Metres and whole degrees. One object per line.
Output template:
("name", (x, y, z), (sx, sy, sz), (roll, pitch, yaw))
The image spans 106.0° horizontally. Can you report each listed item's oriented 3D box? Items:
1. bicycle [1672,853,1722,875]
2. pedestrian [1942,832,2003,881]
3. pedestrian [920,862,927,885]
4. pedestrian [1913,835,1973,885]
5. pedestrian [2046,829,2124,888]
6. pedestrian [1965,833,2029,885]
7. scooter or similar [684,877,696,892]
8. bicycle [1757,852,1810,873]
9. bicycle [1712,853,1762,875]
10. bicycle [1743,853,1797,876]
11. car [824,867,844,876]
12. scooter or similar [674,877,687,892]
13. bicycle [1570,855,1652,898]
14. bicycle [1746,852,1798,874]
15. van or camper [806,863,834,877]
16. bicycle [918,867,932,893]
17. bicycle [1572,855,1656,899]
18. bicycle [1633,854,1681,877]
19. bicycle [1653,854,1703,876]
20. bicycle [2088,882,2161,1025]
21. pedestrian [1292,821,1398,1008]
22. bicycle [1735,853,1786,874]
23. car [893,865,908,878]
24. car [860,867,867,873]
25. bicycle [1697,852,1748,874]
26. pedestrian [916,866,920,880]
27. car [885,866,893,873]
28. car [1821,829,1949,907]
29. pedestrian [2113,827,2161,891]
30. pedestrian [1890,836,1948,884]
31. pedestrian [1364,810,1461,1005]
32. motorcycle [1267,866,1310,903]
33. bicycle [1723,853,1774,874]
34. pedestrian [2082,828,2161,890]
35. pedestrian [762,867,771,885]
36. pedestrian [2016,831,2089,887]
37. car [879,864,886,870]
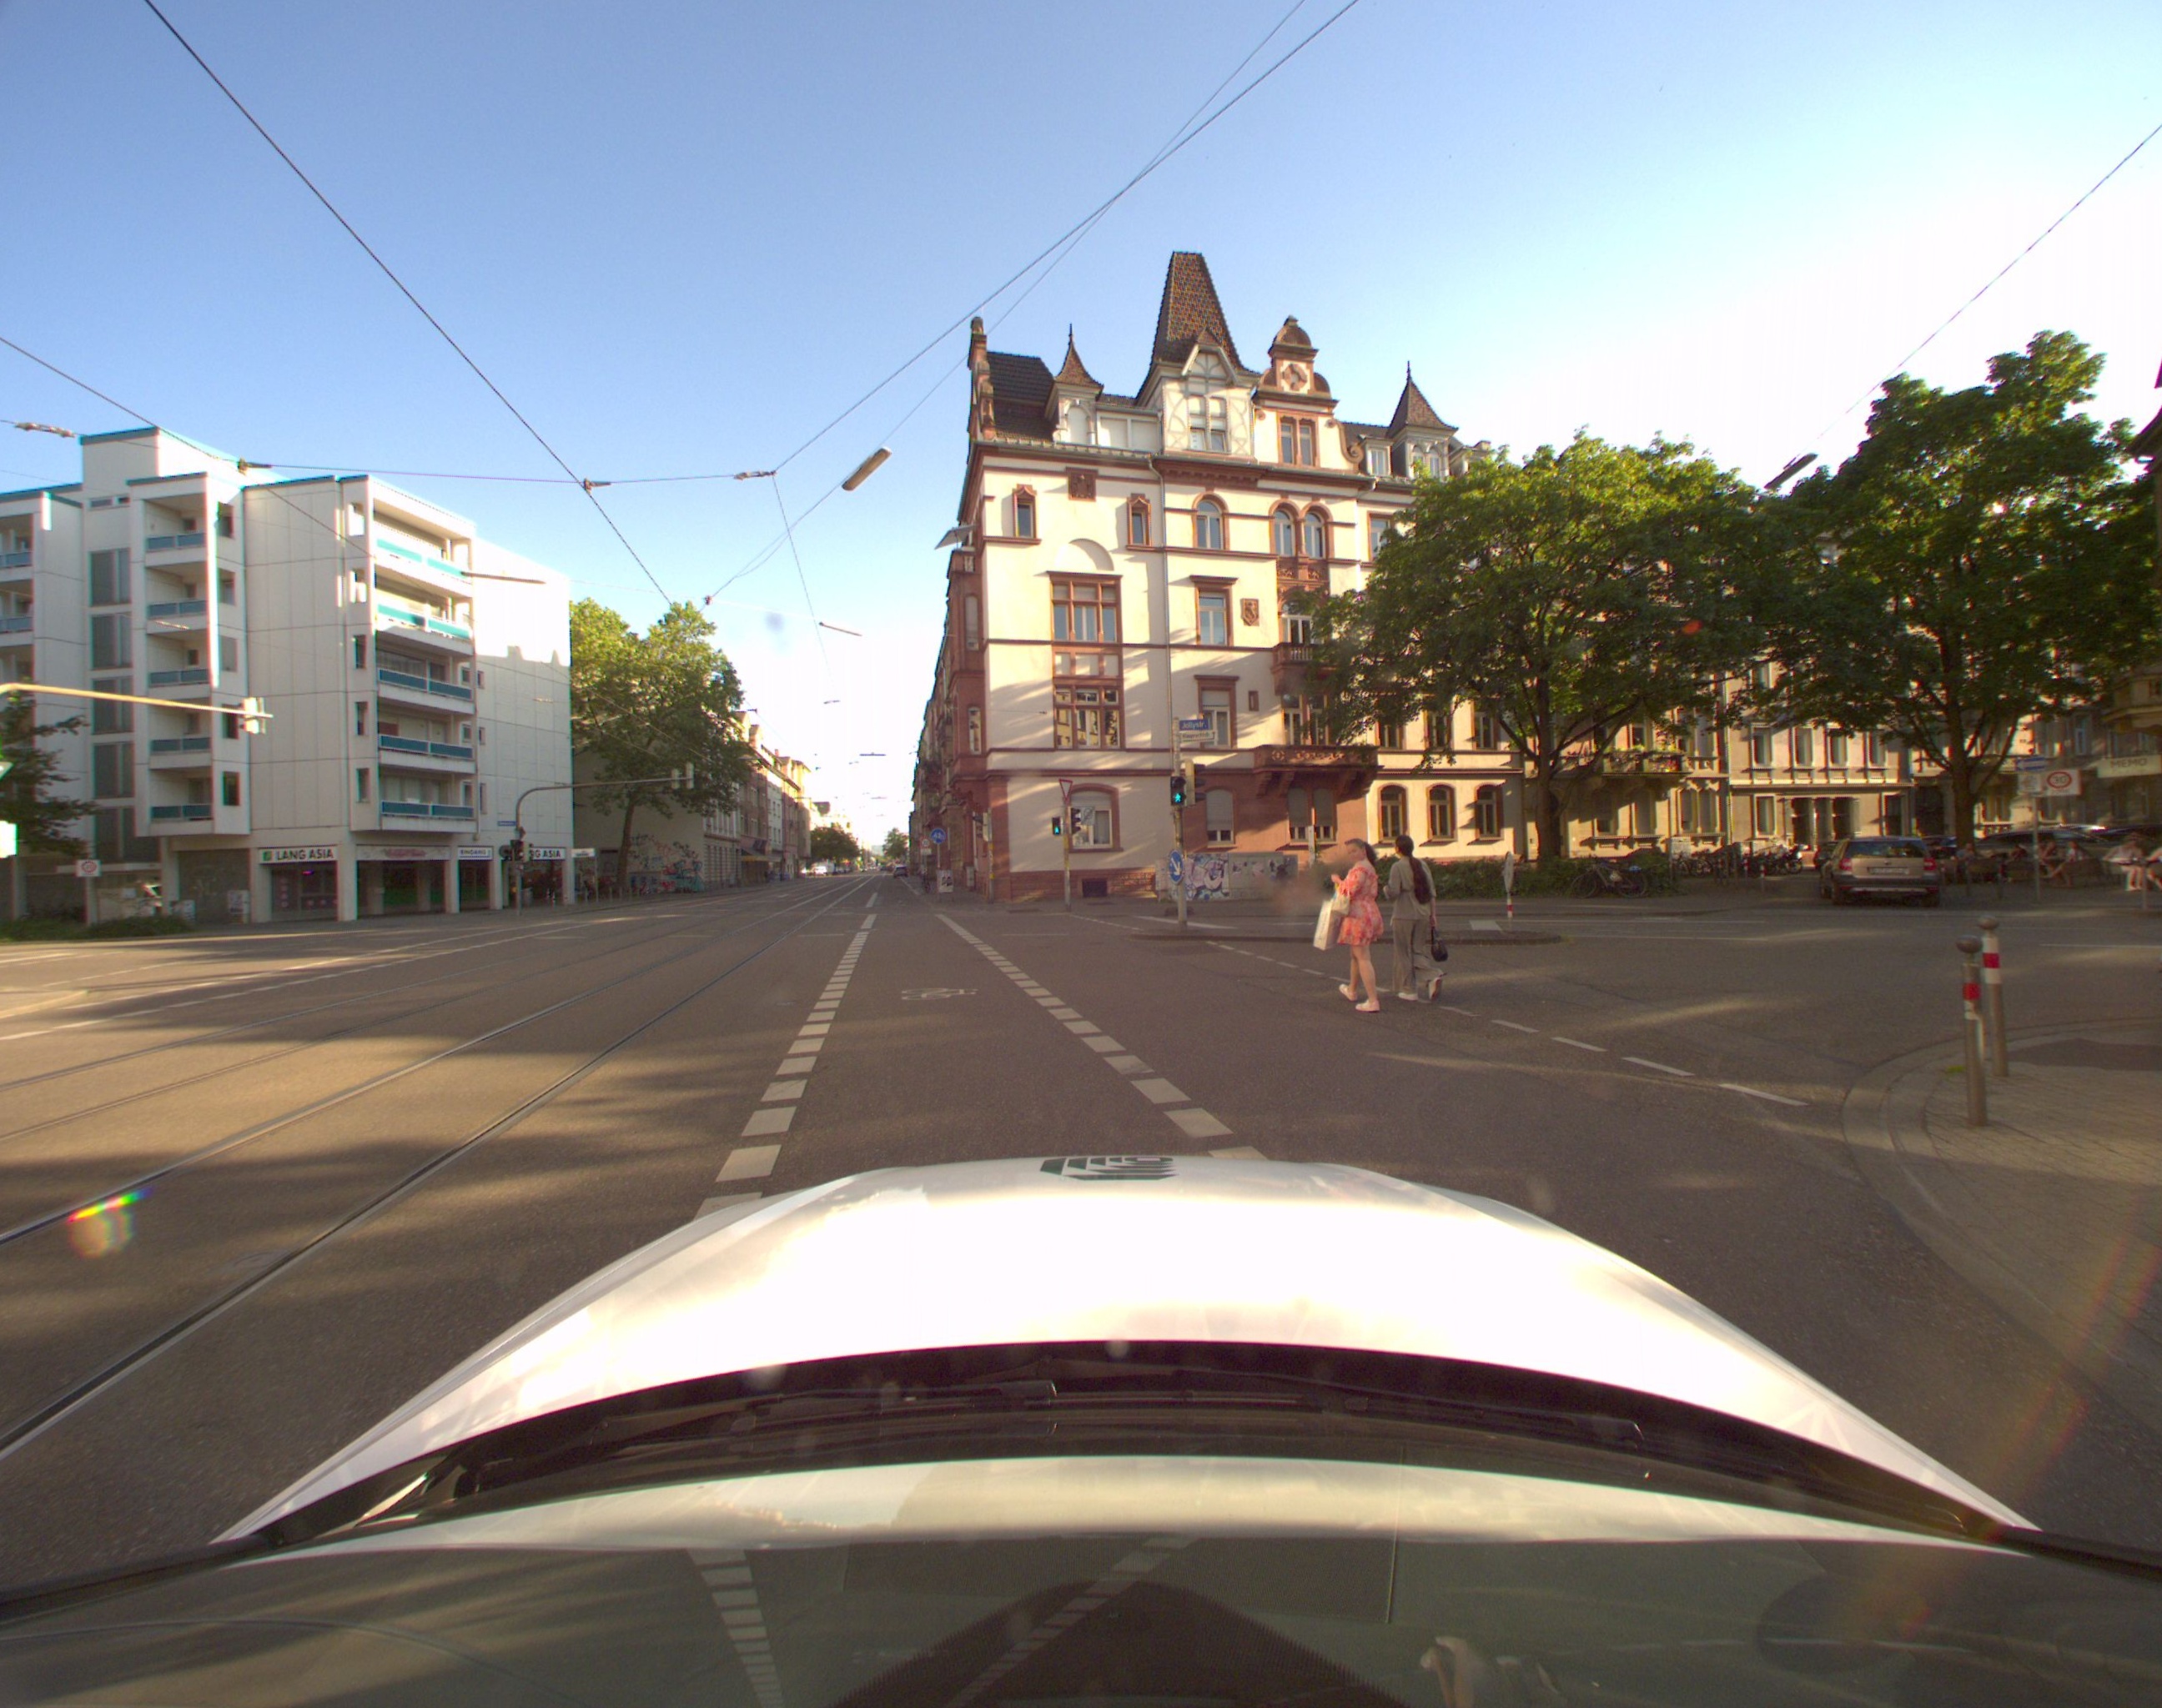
("bicycle", (25.870, 0.433, 34.259), (0.492, 0.893, 1.791), (-2, -1, -11))
("pedestrian", (27.703, 0.093, 25.323), (0.904, 1.428, 0.769), (-6, -2, 19))
("pedestrian", (-12.202, 1.503, 63.093), (0.545, 1.780, 0.502), (-2, -1, -13))
("pedestrian", (26.221, 0.191, 24.793), (0.904, 1.428, 0.769), (-6, -2, 20))
("pedestrian", (26.097, 0.126, 21.181), (0.904, 1.428, 0.769), (-6, -2, 20))
("pedestrian", (27.249, 0.146, 24.250), (0.904, 1.428, 0.769), (-6, -2, 20))
("scooter or similar", (-28.588, 2.192, 59.506), (0.517, 1.057, 1.470), (-2, -1, -15))
("bicycle", (30.698, 0.382, 35.620), (0.492, 0.893, 1.791), (-2, -1, -11))
("bicycle", (28.220, 0.437, 35.062), (0.492, 0.893, 1.791), (-2, -1, -11))
("bicycle", (28.651, 0.442, 33.868), (1.785, 0.893, 0.493), (-2, -1, 1))
("car", (-57.585, 4.090, 189.793), (4.019, 2.014, 1.977), (-1, -1, -38))
("scooter or similar", (-29.183, 2.210, 59.324), (0.517, 1.045, 1.470), (-2, -1, -15))
("bicycle", (14.899, 0.640, 22.954), (1.842, 1.161, 0.563), (-2, 1, 24))
("bicycle", (30.075, 0.395, 35.468), (0.492, 0.893, 1.791), (-2, -1, -11))
("van or camper", (-49.798, 3.012, 155.608), (4.677, 2.563, 1.975), (0, -2, -44))
("bicycle", (-8.319, 1.376, 43.385), (0.653, 1.323, 2.168), (-2, -1, -11))
("bicycle", (14.641, 0.637, 22.407), (1.842, 1.161, 0.563), (-2, 1, 24))
("bicycle", (24.002, 0.476, 33.970), (0.492, 0.893, 1.791), (-2, -1, -11))
("bicycle", (24.995, 0.453, 34.127), (0.492, 0.893, 1.791), (-2, -1, -11))
("bicycle", (8.481, 0.739, 5.986), (0.776, 1.045, 1.061), (-2, -2, -4))
("pedestrian", (2.674, 0.592, 8.314), (0.802, 1.800, 0.762), (-2, 0, 2))
("bicycle", (29.526, 0.408, 35.412), (0.492, 0.893, 1.791), (-2, -1, -11))
("car", (-24.460, 2.342, 110.551), (1.952, 1.684, 3.983), (-2, -1, -12))
("car", (-61.484, 4.516, 230.016), (1.822, 1.442, 3.981), (-1, -1, -13))
("bicycle", (27.320, 0.404, 34.699), (0.492, 0.893, 1.791), (-2, -1, -11))
("pedestrian", (-21.501, 2.512, 107.489), (0.545, 1.780, 0.746), (-2, -1, -13))
("car", (-48.648, 4.045, 206.376), (1.996, 1.728, 3.981), (-1, -1, -14))
("car", (19.528, 0.244, 19.958), (1.975, 1.618, 4.026), (1, 4, 41))
("pedestrian", (25.517, 0.106, 19.325), (0.904, 1.428, 0.769), (-6, -2, 20))
("pedestrian", (26.525, 0.202, 25.791), (0.904, 1.428, 0.769), (-6, -2, 19))
("pedestrian", (3.409, 0.533, 8.428), (0.687, 1.908, 0.672), (-3, 0, 7))
("motorcycle", (6.663, 0.946, 26.254), (0.717, 1.020, 2.285), (-2, 2, -2))
("bicycle", (28.872, 0.421, 35.245), (0.492, 0.893, 1.791), (-2, -1, -11))
("pedestrian", (25.780, 0.115, 20.149), (0.904, 1.428, 0.769), (-6, -2, 19))
("pedestrian", (-31.588, 2.213, 81.840), (0.702, 1.728, 0.644), (-2, -1, -14))
("pedestrian", (26.420, 0.137, 22.172), (0.904, 1.428, 0.769), (-6, -2, 19))
("car", (-58.931, 3.979, 241.442), (1.996, 1.728, 3.981), (-1, -1, -14))
